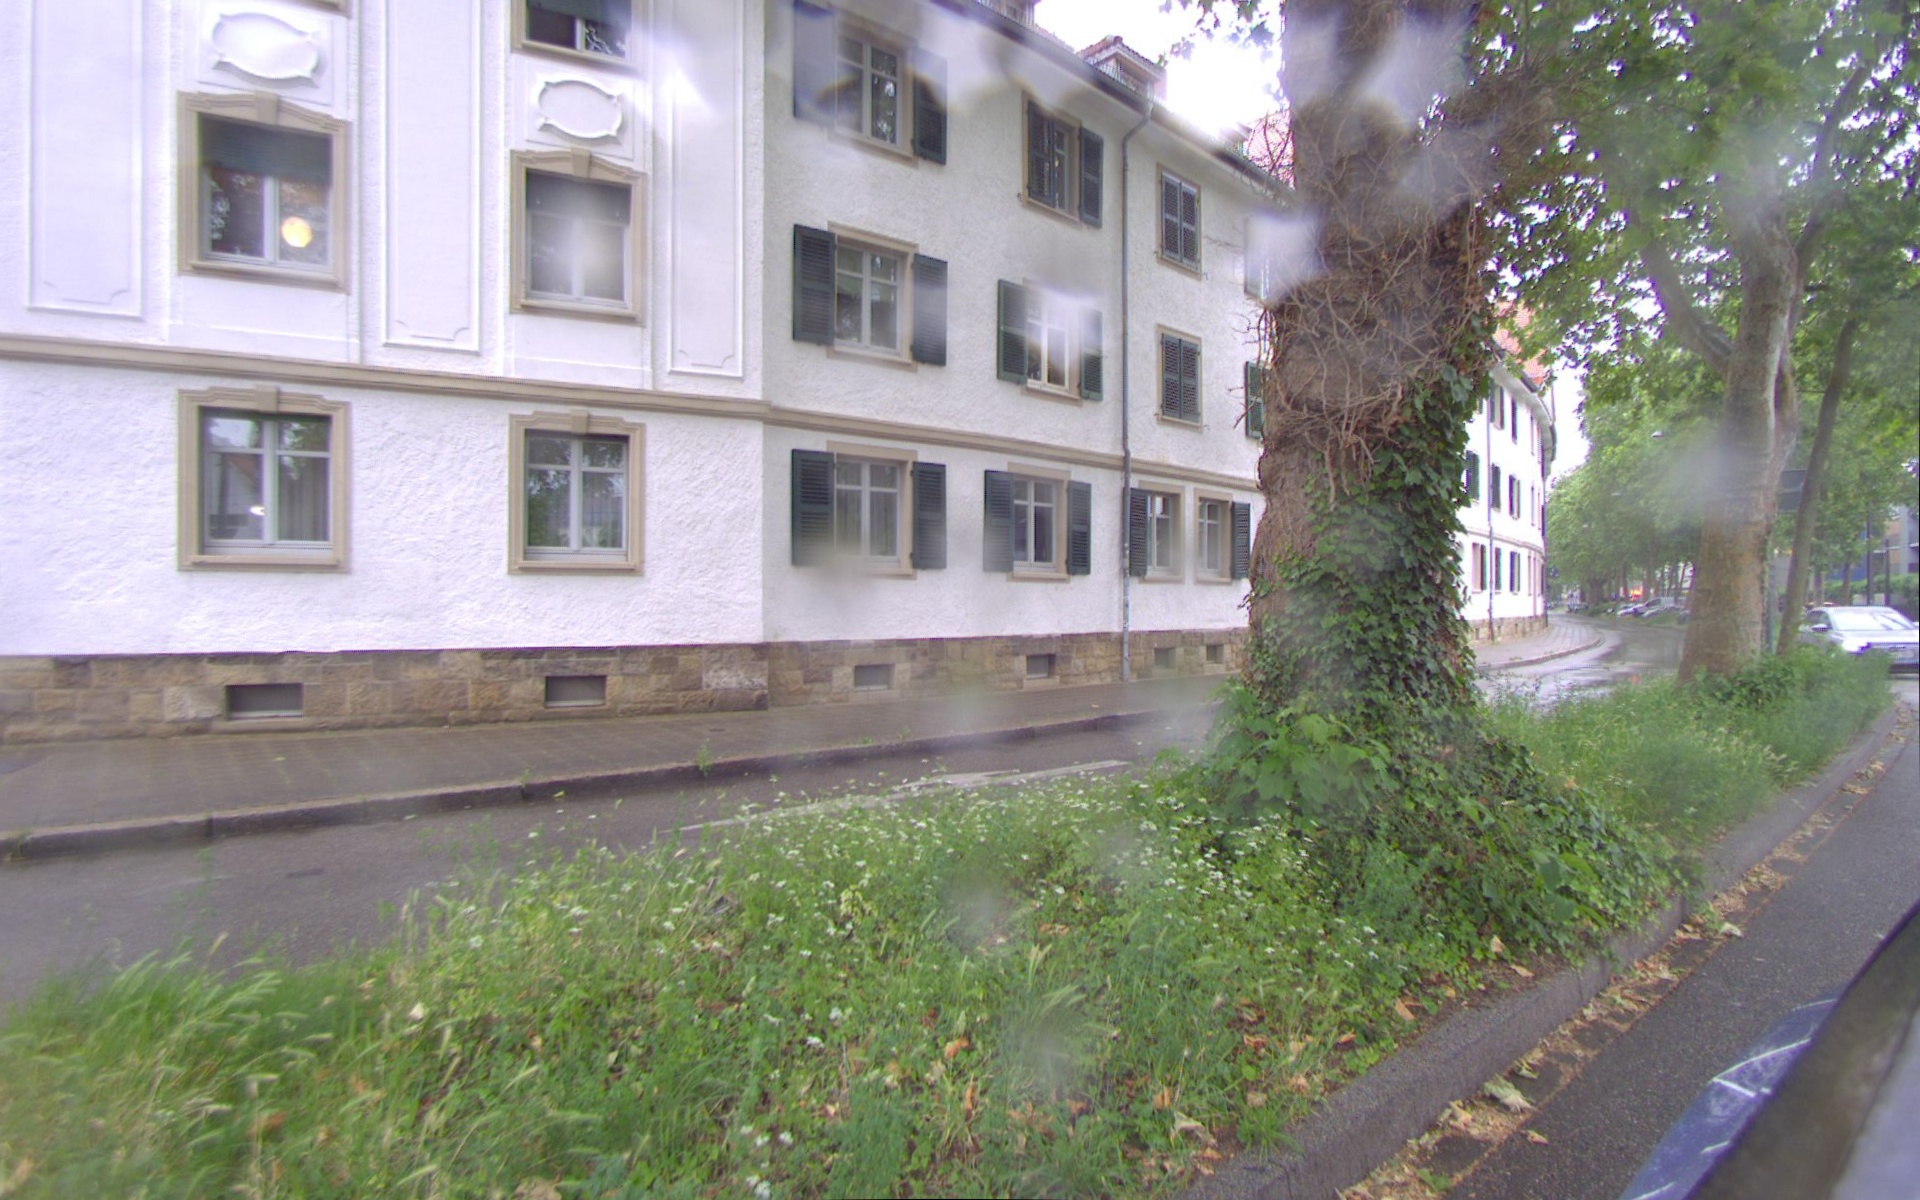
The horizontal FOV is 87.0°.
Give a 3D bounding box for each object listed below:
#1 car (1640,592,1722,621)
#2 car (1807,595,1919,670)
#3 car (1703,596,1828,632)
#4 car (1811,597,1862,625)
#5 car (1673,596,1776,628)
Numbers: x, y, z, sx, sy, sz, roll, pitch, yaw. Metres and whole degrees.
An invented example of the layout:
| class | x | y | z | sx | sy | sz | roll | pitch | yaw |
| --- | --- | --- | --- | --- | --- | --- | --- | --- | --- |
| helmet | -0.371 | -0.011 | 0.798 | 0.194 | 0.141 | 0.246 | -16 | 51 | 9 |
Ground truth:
| class | x | y | z | sx | sy | sz | roll | pitch | yaw |
| --- | --- | --- | --- | --- | --- | --- | --- | --- | --- |
| car | 56.652 | 0.480 | 79.613 | 1.960 | 2.039 | 4.899 | 1 | 1 | -30 |
| car | 21.766 | 0.695 | 23.924 | 1.835 | 1.616 | 4.174 | 0 | 0 | 28 |
| car | 38.338 | 0.633 | 48.269 | 1.892 | 1.560 | 4.236 | 0 | 1 | -30 |
| car | 57.758 | 0.681 | 66.742 | 1.677 | 1.745 | 3.656 | 2 | 1 | 28 |
| car | 43.582 | 0.677 | 57.787 | 1.715 | 1.632 | 4.335 | 1 | 1 | -35 |
